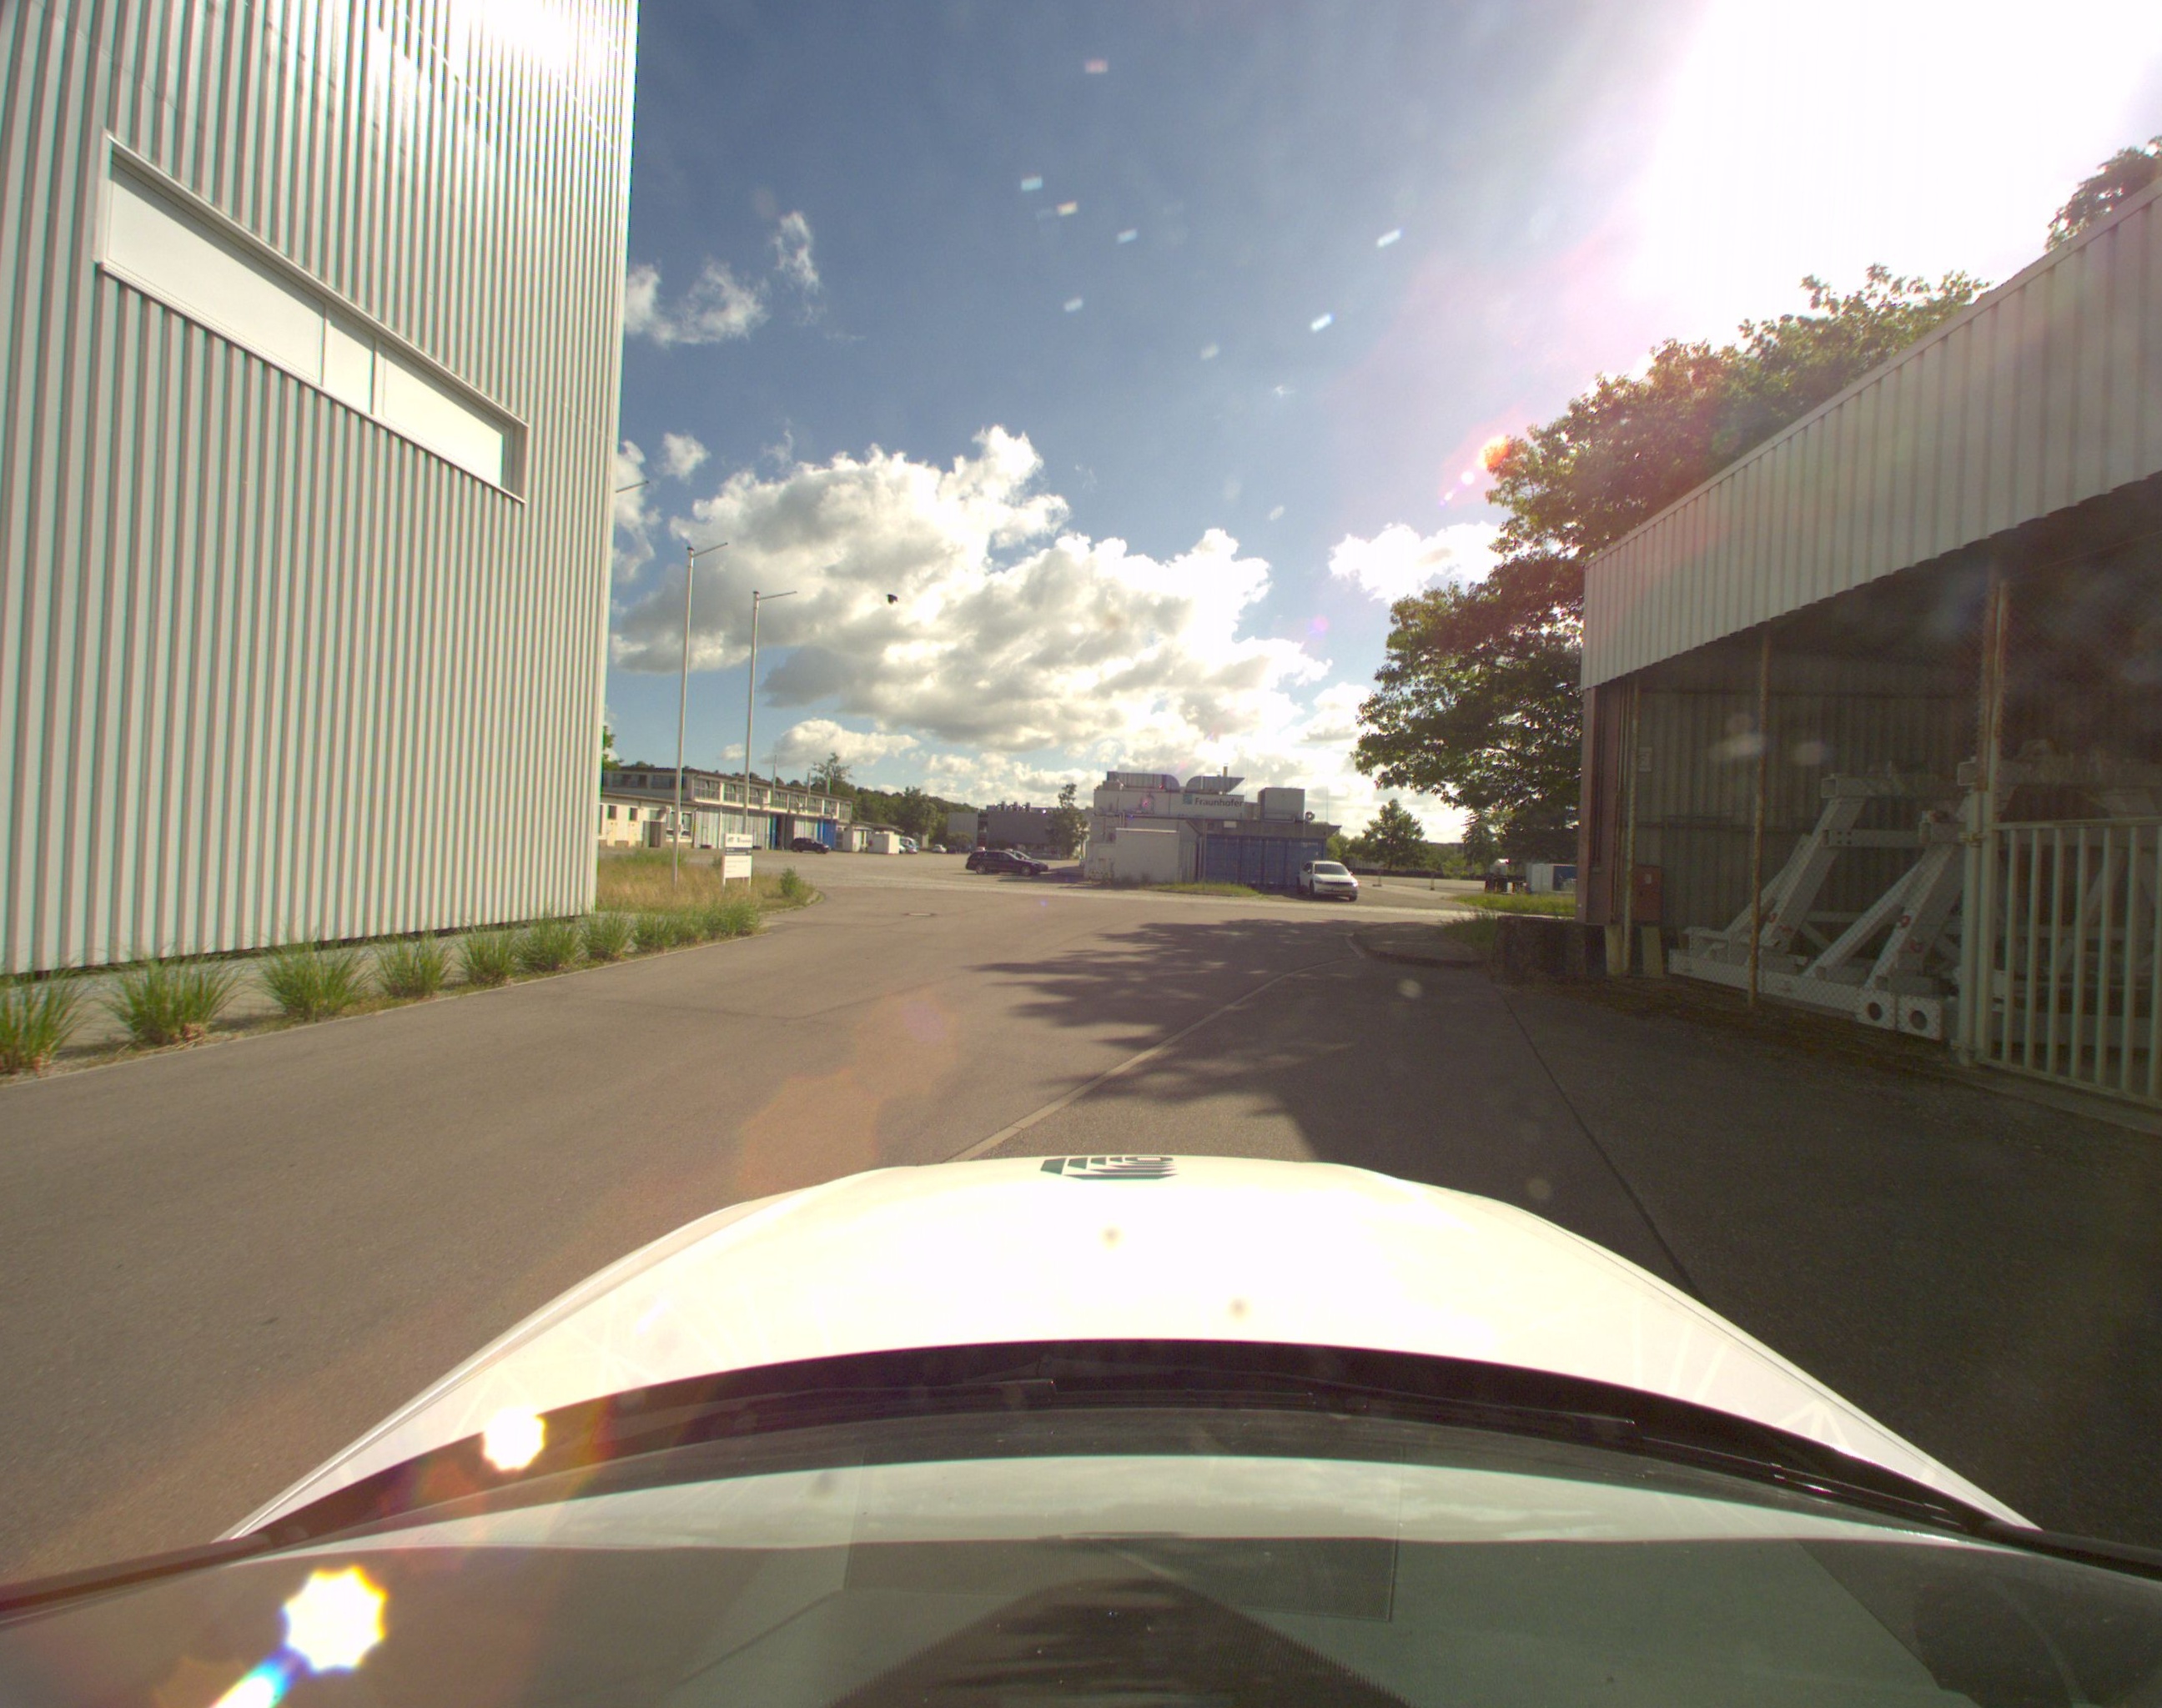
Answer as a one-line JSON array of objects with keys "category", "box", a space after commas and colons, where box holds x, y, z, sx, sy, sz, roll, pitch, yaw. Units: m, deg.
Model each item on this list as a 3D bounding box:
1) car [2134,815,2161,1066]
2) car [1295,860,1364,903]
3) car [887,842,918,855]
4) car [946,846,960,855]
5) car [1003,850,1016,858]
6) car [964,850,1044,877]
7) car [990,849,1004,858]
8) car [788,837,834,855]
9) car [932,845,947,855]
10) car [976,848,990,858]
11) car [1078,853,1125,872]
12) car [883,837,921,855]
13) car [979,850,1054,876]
[{"category": "car", "box": [10.854, 0.755, 5.300, 5.150, 1.918, 2.278, 2, -1, -1]}, {"category": "car", "box": [10.849, 1.158, 35.876, 1.972, 1.593, 4.346, 3, 1, 4]}, {"category": "car", "box": [-26.677, -0.799, 121.810, 4.086, 1.630, 1.812, 3, 0, 8]}, {"category": "car", "box": [-23.304, -0.659, 148.010, 1.871, 1.537, 4.035, 1, -1, 0]}, {"category": "car", "box": [-12.894, 0.023, 147.588, 1.870, 1.537, 4.038, 1, -1, 2]}, {"category": "car", "box": [-4.664, 0.586, 49.617, 4.508, 1.443, 1.989, 2, -2, 4]}, {"category": "car", "box": [-15.225, -0.008, 147.530, 1.870, 1.537, 4.038, 1, -1, 2]}, {"category": "car", "box": [-29.293, -0.847, 88.429, 4.145, 1.666, 1.785, 4, 0, 3]}, {"category": "car", "box": [-25.730, -0.754, 148.300, 1.840, 1.668, 4.132, 1, -1, 0]}, {"category": "car", "box": [-17.760, -0.114, 147.861, 1.870, 1.689, 4.038, 1, -1, 2]}, {"category": "car", "box": [1.926, 0.842, 77.001, 4.259, 1.569, 1.989, 2, -2, 4]}, {"category": "car", "box": [-27.386, -1.272, 124.817, 5.228, 2.442, 2.054, 3, 0, 8]}, {"category": "car", "box": [-4.156, 0.609, 52.852, 4.508, 1.443, 1.906, 2, -2, 4]}]
